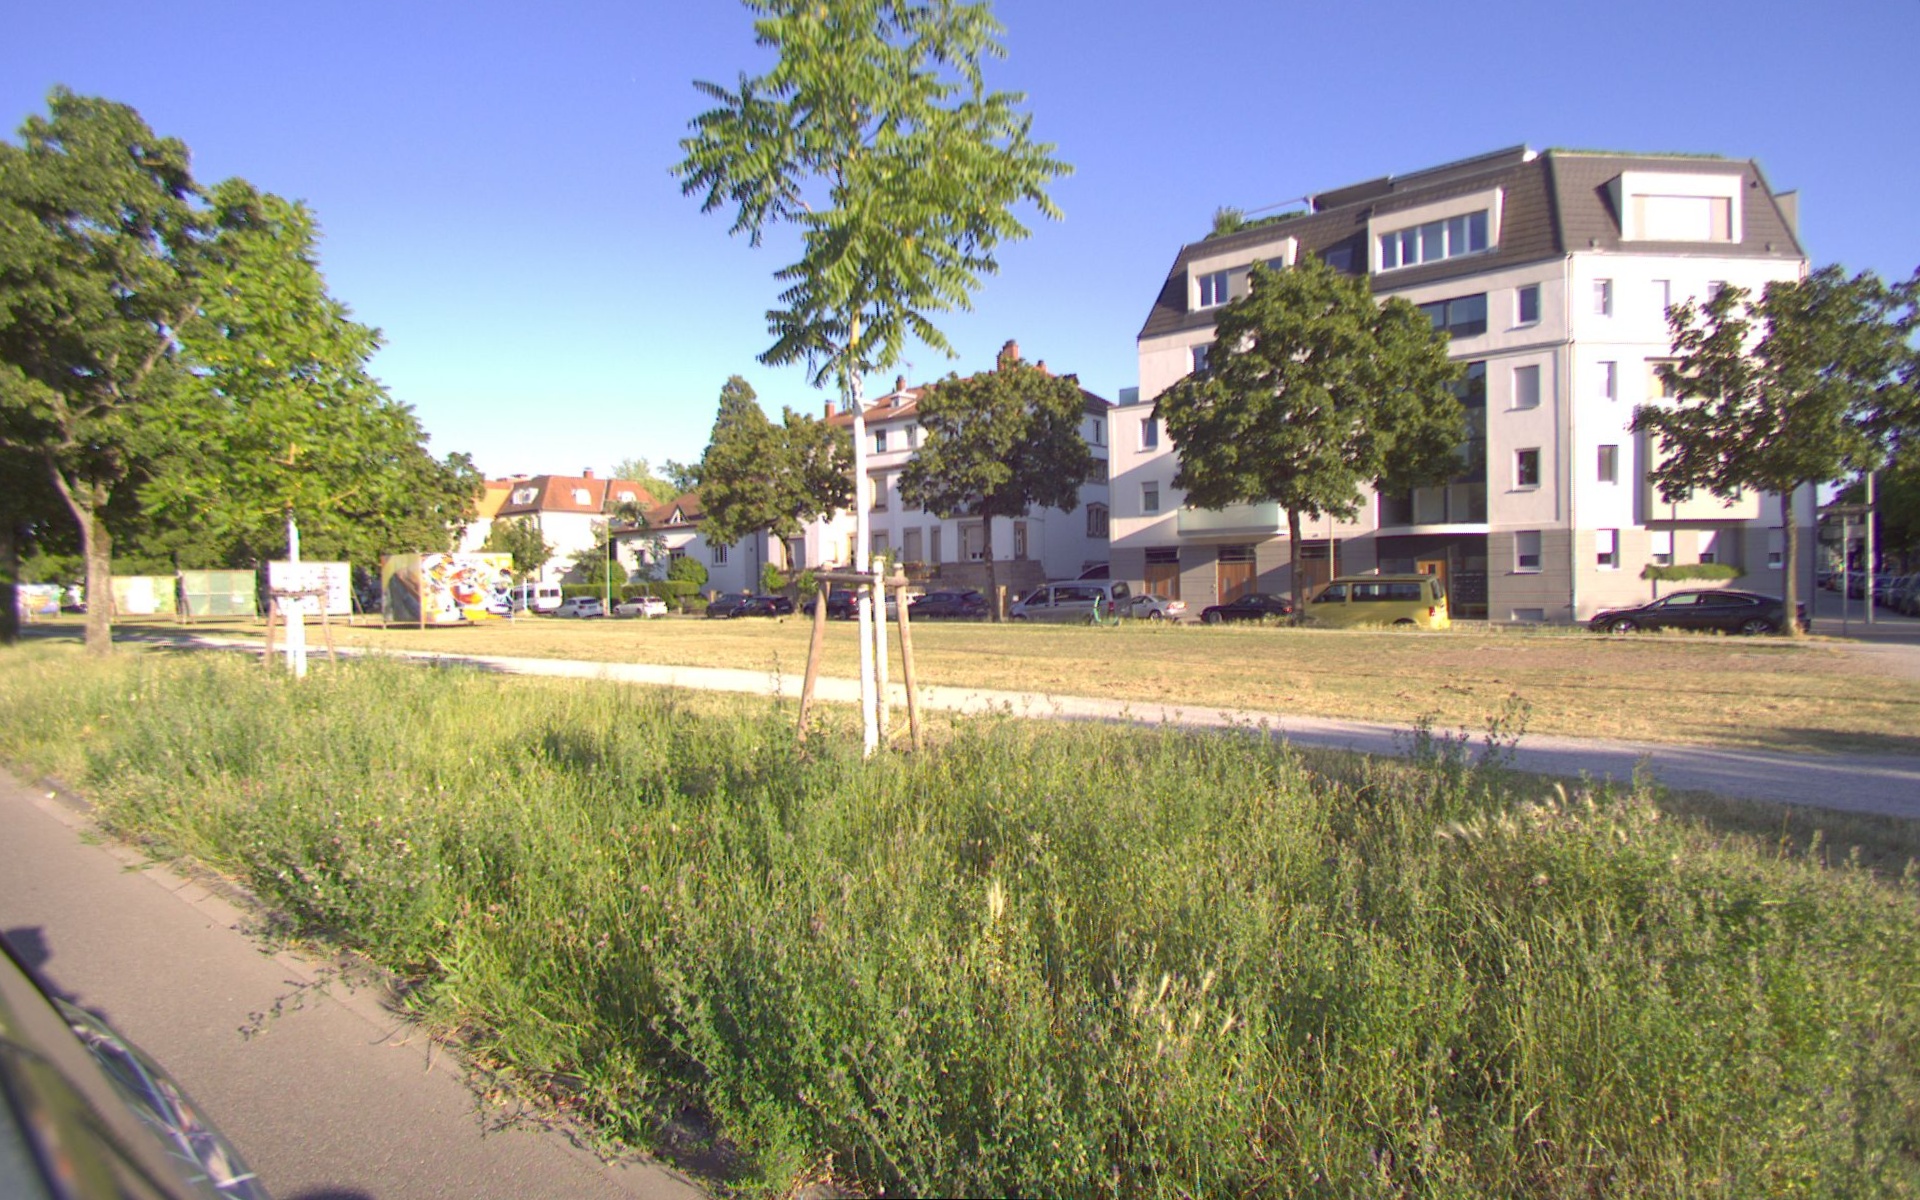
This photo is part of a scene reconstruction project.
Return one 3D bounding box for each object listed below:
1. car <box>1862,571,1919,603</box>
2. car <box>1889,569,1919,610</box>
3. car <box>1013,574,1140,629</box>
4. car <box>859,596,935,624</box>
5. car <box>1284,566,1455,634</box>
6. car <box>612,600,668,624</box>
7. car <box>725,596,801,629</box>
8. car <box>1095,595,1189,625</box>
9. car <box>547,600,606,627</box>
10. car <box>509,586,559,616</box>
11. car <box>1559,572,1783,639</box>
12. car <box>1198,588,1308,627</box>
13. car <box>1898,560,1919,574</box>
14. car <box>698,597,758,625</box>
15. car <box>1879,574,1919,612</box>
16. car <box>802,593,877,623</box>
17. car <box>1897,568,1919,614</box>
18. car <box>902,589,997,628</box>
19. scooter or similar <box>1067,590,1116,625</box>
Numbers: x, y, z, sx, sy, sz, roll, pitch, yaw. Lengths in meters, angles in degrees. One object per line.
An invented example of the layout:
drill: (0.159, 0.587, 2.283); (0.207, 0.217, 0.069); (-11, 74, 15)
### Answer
car: (44.145, -0.629, 48.076); (1.762, 1.458, 4.088); (0, 1, 39)
car: (39.002, -0.445, 40.742); (1.887, 1.603, 4.040); (-1, 1, 36)
car: (4.531, 0.056, 39.795); (4.570, 2.029, 2.052); (-1, 0, 39)
car: (-3.389, 0.535, 53.756); (4.004, 1.457, 1.621); (0, 0, 39)
car: (13.042, -0.008, 32.346); (4.689, 2.029, 2.007); (-1, 0, 39)
car: (-21.866, 0.799, 69.126); (3.964, 1.592, 1.802); (0, 1, 40)
car: (-10.145, 0.614, 51.972); (3.833, 1.592, 1.802); (0, 1, 40)
car: (7.909, 0.421, 44.117); (3.723, 1.250, 1.606); (0, 0, 36)
car: (-24.087, 0.848, 63.488); (3.833, 1.592, 1.802); (0, 1, 40)
car: (-32.758, 0.101, 77.817); (4.130, 2.230, 1.972); (0, 1, 42)
car: (19.165, 0.138, 27.399); (4.836, 1.681, 1.765); (0, 1, 40)
car: (11.860, 0.296, 41.099); (3.997, 1.474, 1.655); (-1, 1, 40)
car: (112.362, -3.906, 118.358); (3.854, 1.493, 1.781); (-1, 1, 40)
car: (-14.361, 0.665, 62.595); (3.998, 1.674, 1.621); (0, 1, 41)
car: (41.743, -0.336, 44.232); (1.887, 1.603, 4.040); (-1, 1, 36)
car: (-6.768, 0.435, 56.552); (4.159, 1.592, 1.802); (0, 1, 40)
car: (35.533, -0.357, 36.627); (1.887, 1.603, 4.040); (-1, 1, 36)
car: (-0.484, 0.358, 43.552); (3.833, 1.592, 1.802); (0, 1, 40)
scooter or similar: (4.405, 0.256, 33.889); (1.647, 1.124, 0.447); (-1, 1, 40)
